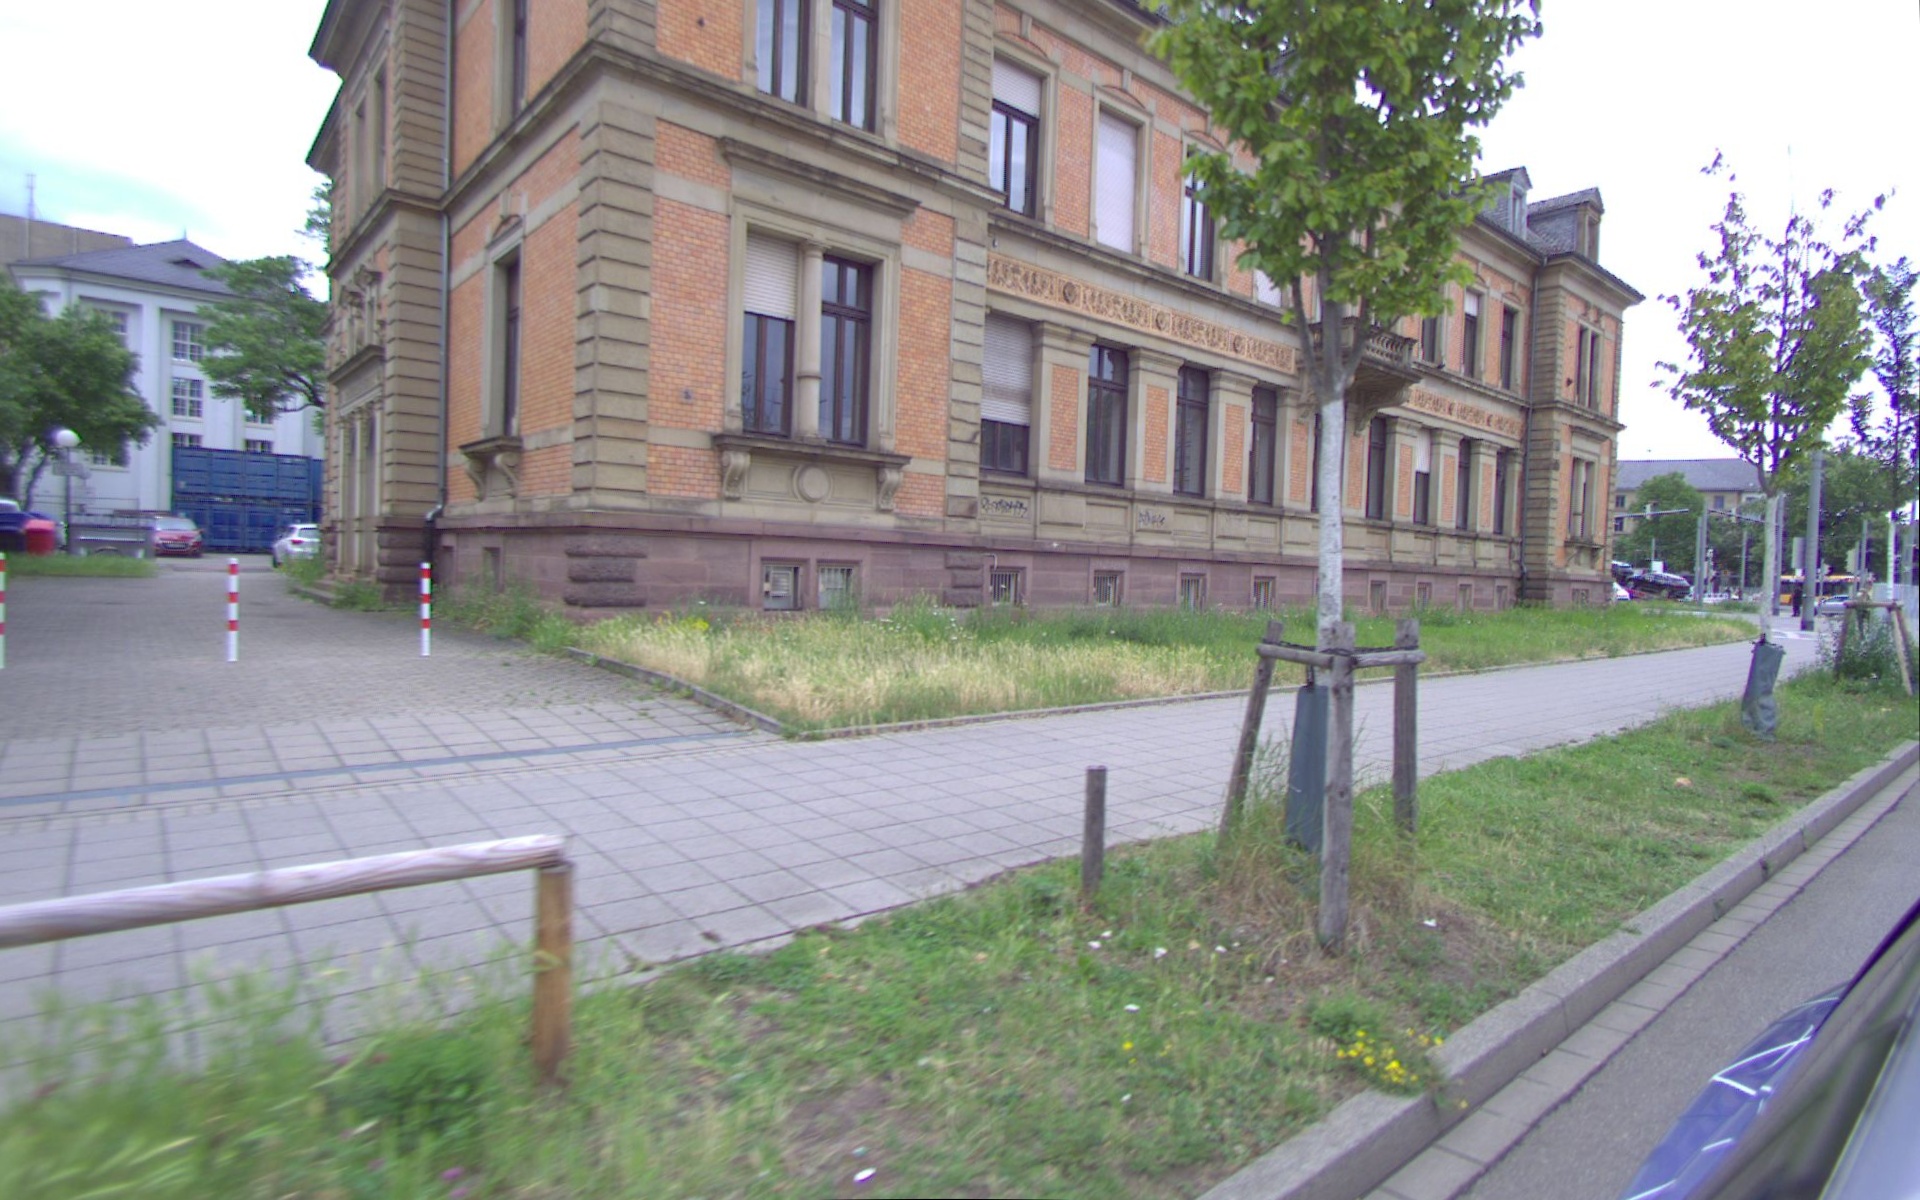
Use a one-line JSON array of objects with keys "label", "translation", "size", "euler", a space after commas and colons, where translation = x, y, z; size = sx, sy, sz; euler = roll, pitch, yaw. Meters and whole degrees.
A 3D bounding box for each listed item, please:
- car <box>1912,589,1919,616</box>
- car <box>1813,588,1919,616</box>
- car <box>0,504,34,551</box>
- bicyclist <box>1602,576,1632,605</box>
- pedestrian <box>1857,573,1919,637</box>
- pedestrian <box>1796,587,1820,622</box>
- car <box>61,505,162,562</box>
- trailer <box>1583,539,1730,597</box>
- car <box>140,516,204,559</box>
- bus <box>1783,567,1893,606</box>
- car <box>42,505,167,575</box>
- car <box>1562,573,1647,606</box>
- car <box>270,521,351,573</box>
[{"label": "car", "translation": [55.941, 0.187, 56.535], "size": [1.962, 1.511, 3.623], "euler": [0, 3, -35]}, {"label": "car", "translation": [56.079, 0.113, 62.603], "size": [1.958, 1.512, 4.689], "euler": [3, 0, -23]}, {"label": "car", "translation": [-33.149, -2.449, 34.578], "size": [1.727, 1.548, 4.001], "euler": [-1, 3, -35]}, {"label": "bicyclist", "translation": [35.447, -0.516, 54.580], "size": [1.078, 1.539, 0.762], "euler": [1, 2, -15]}, {"label": "pedestrian", "translation": [28.852, 0.137, 31.401], "size": [0.872, 1.890, 1.285], "euler": [2, 2, 5]}, {"label": "pedestrian", "translation": [48.990, 0.270, 58.478], "size": [0.774, 1.967, 0.972], "euler": [2, 2, 27]}, {"label": "car", "translation": [-25.149, -1.944, 30.134], "size": [1.971, 1.548, 4.001], "euler": [-1, 3, -35]}, {"label": "trailer", "translation": [52.267, -2.467, 76.429], "size": [2.934, 4.021, 9.577], "euler": [0, 2, -13]}, {"label": "car", "translation": [-29.961, -2.351, 38.546], "size": [1.727, 1.548, 4.001], "euler": [-1, 3, -35]}, {"label": "bus", "translation": [77.616, -1.323, 89.864], "size": [2.827, 3.115, 11.955], "euler": [1, 2, 18]}, {"label": "car", "translation": [-20.720, -1.421, 24.662], "size": [1.971, 1.548, 4.001], "euler": [-1, 3, -35]}, {"label": "car", "translation": [41.881, -0.717, 65.884], "size": [1.958, 1.965, 4.534], "euler": [1, 2, -13]}, {"label": "car", "translation": [-20.666, -1.666, 32.127], "size": [1.971, 1.548, 4.001], "euler": [-1, 3, -35]}]
